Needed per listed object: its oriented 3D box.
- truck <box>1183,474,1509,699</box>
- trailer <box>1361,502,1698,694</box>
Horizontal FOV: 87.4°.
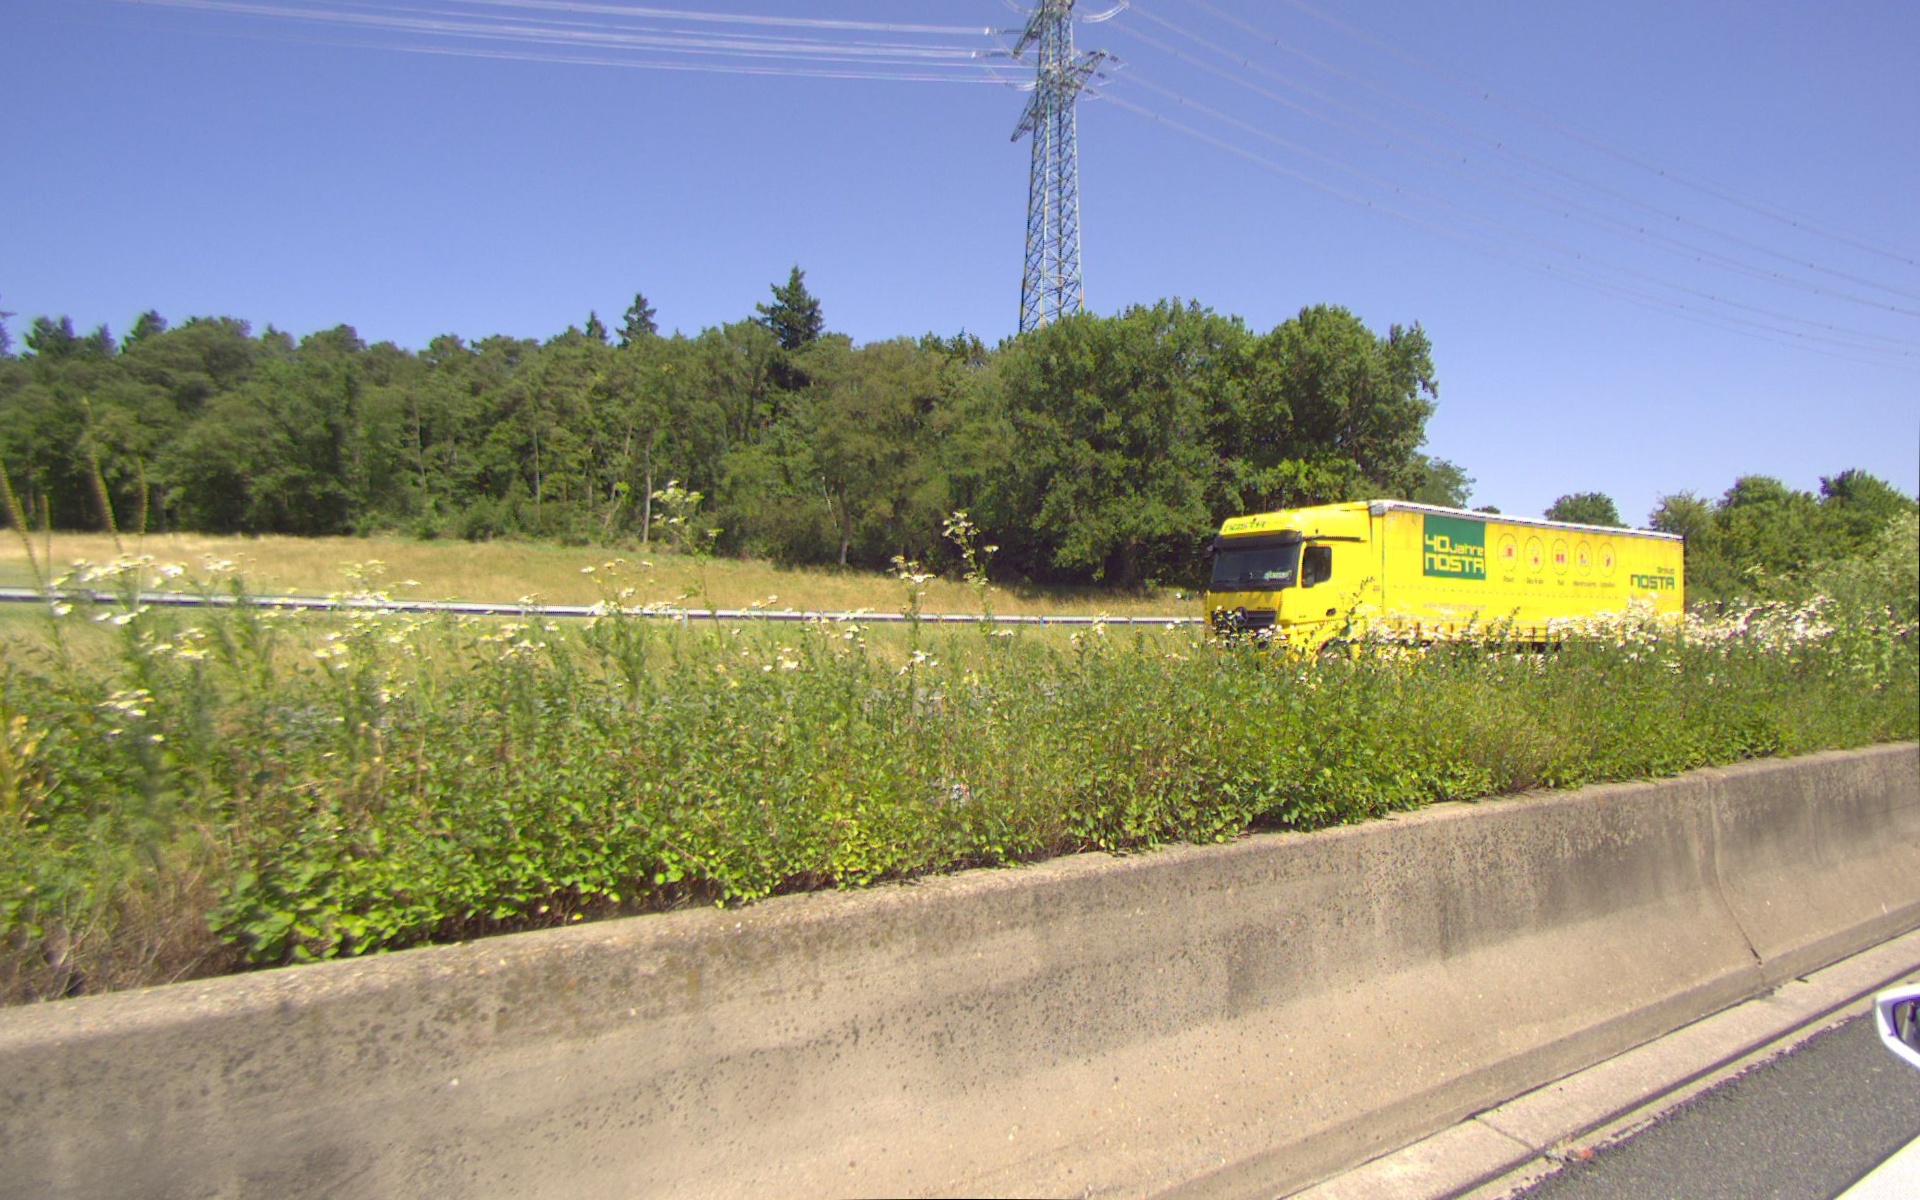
[{"bbox_3d":[8.663,-0.161,22.240,7.242,4.293,2.763,2,1,-31],"label":"truck"},{"bbox_3d":[15.172,0.108,26.308,10.567,4.262,2.806,2,1,-32],"label":"trailer"}]
